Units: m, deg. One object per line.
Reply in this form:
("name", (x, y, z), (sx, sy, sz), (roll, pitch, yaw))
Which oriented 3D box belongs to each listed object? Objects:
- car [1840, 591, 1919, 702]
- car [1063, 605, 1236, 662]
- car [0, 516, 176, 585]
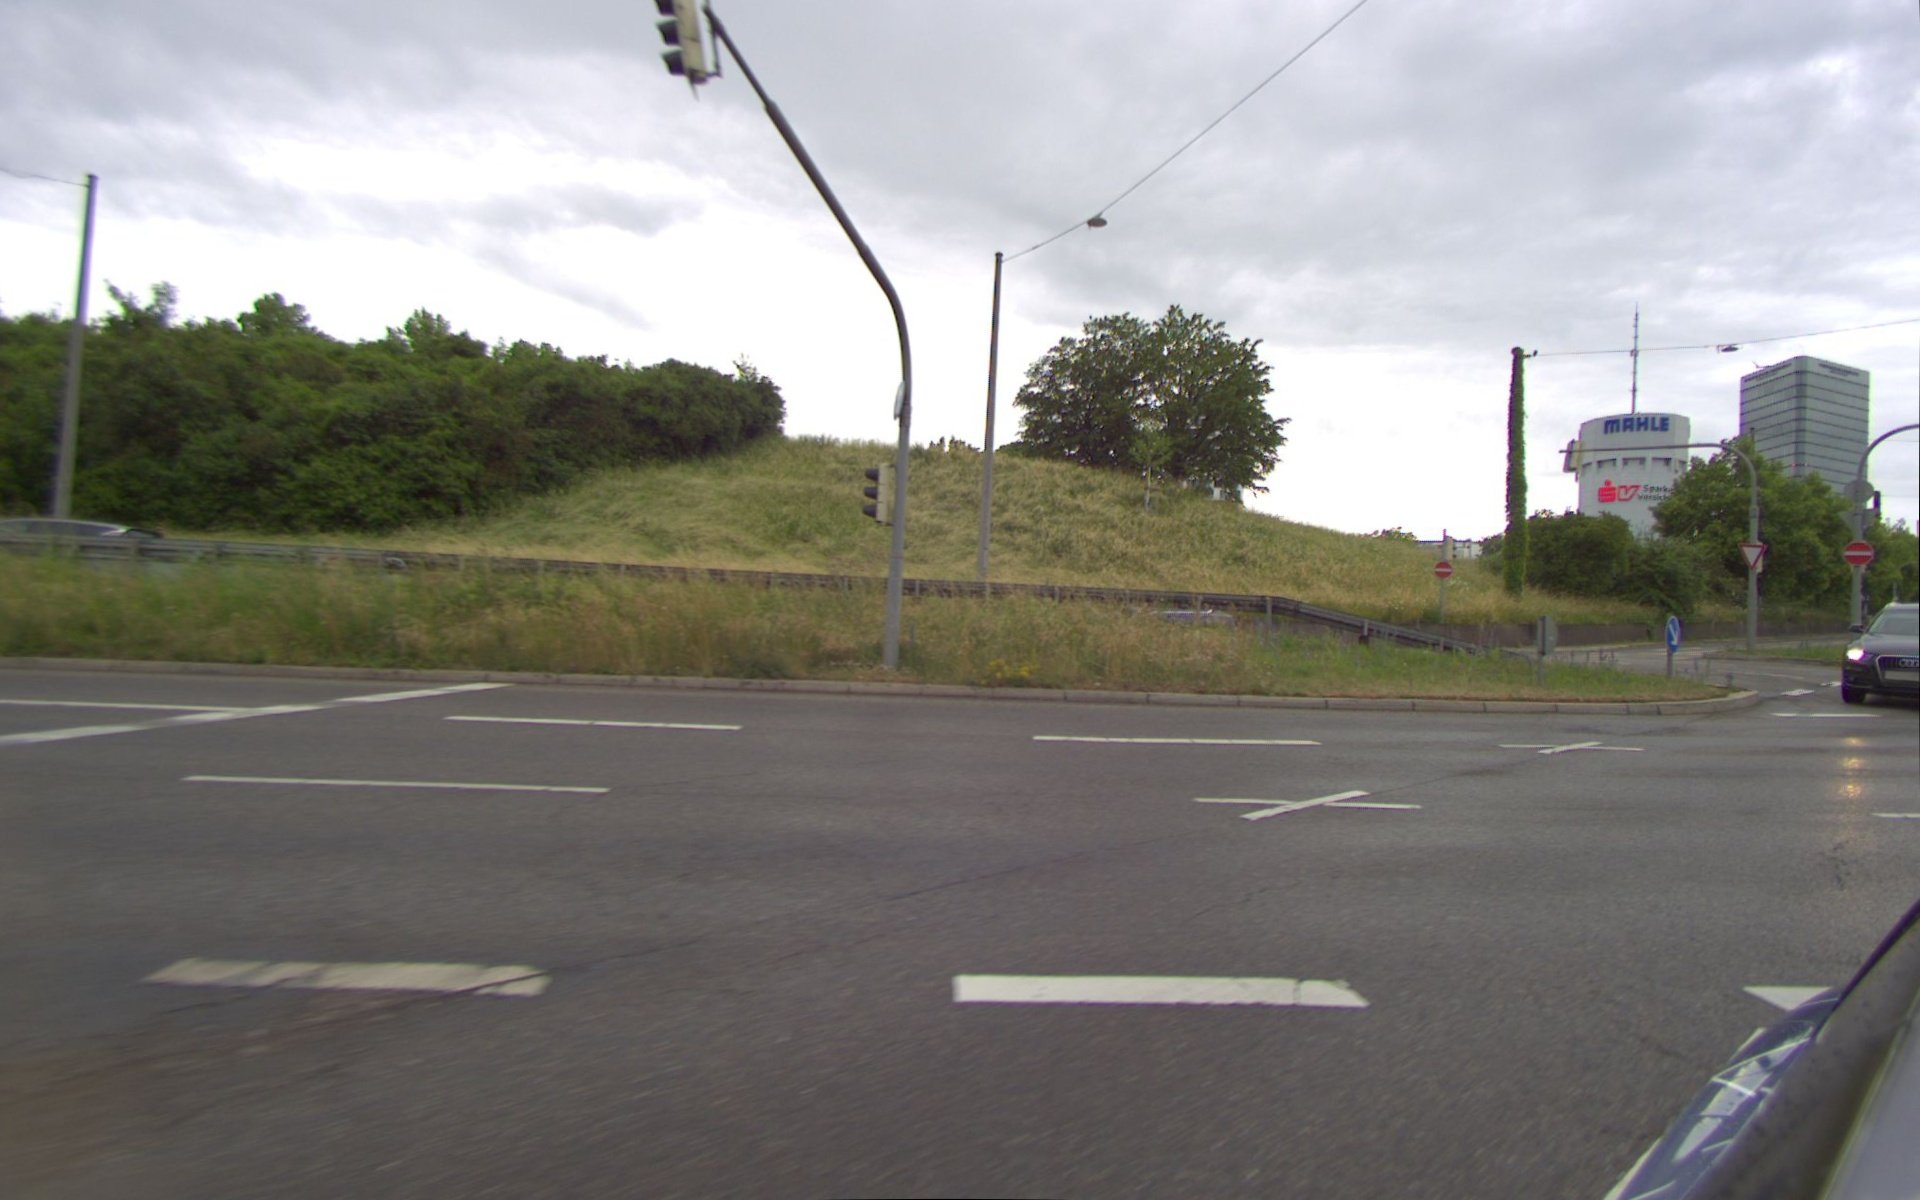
("car", (15.672, 0.728, 16.111), (4.203, 1.621, 1.926), (2, -2, -41))
("car", (4.965, 0.867, 26.526), (4.139, 1.367, 1.787), (2, 0, -23))
("car", (-20.203, -1.088, 22.400), (4.140, 1.367, 1.786), (1, -1, -10))
